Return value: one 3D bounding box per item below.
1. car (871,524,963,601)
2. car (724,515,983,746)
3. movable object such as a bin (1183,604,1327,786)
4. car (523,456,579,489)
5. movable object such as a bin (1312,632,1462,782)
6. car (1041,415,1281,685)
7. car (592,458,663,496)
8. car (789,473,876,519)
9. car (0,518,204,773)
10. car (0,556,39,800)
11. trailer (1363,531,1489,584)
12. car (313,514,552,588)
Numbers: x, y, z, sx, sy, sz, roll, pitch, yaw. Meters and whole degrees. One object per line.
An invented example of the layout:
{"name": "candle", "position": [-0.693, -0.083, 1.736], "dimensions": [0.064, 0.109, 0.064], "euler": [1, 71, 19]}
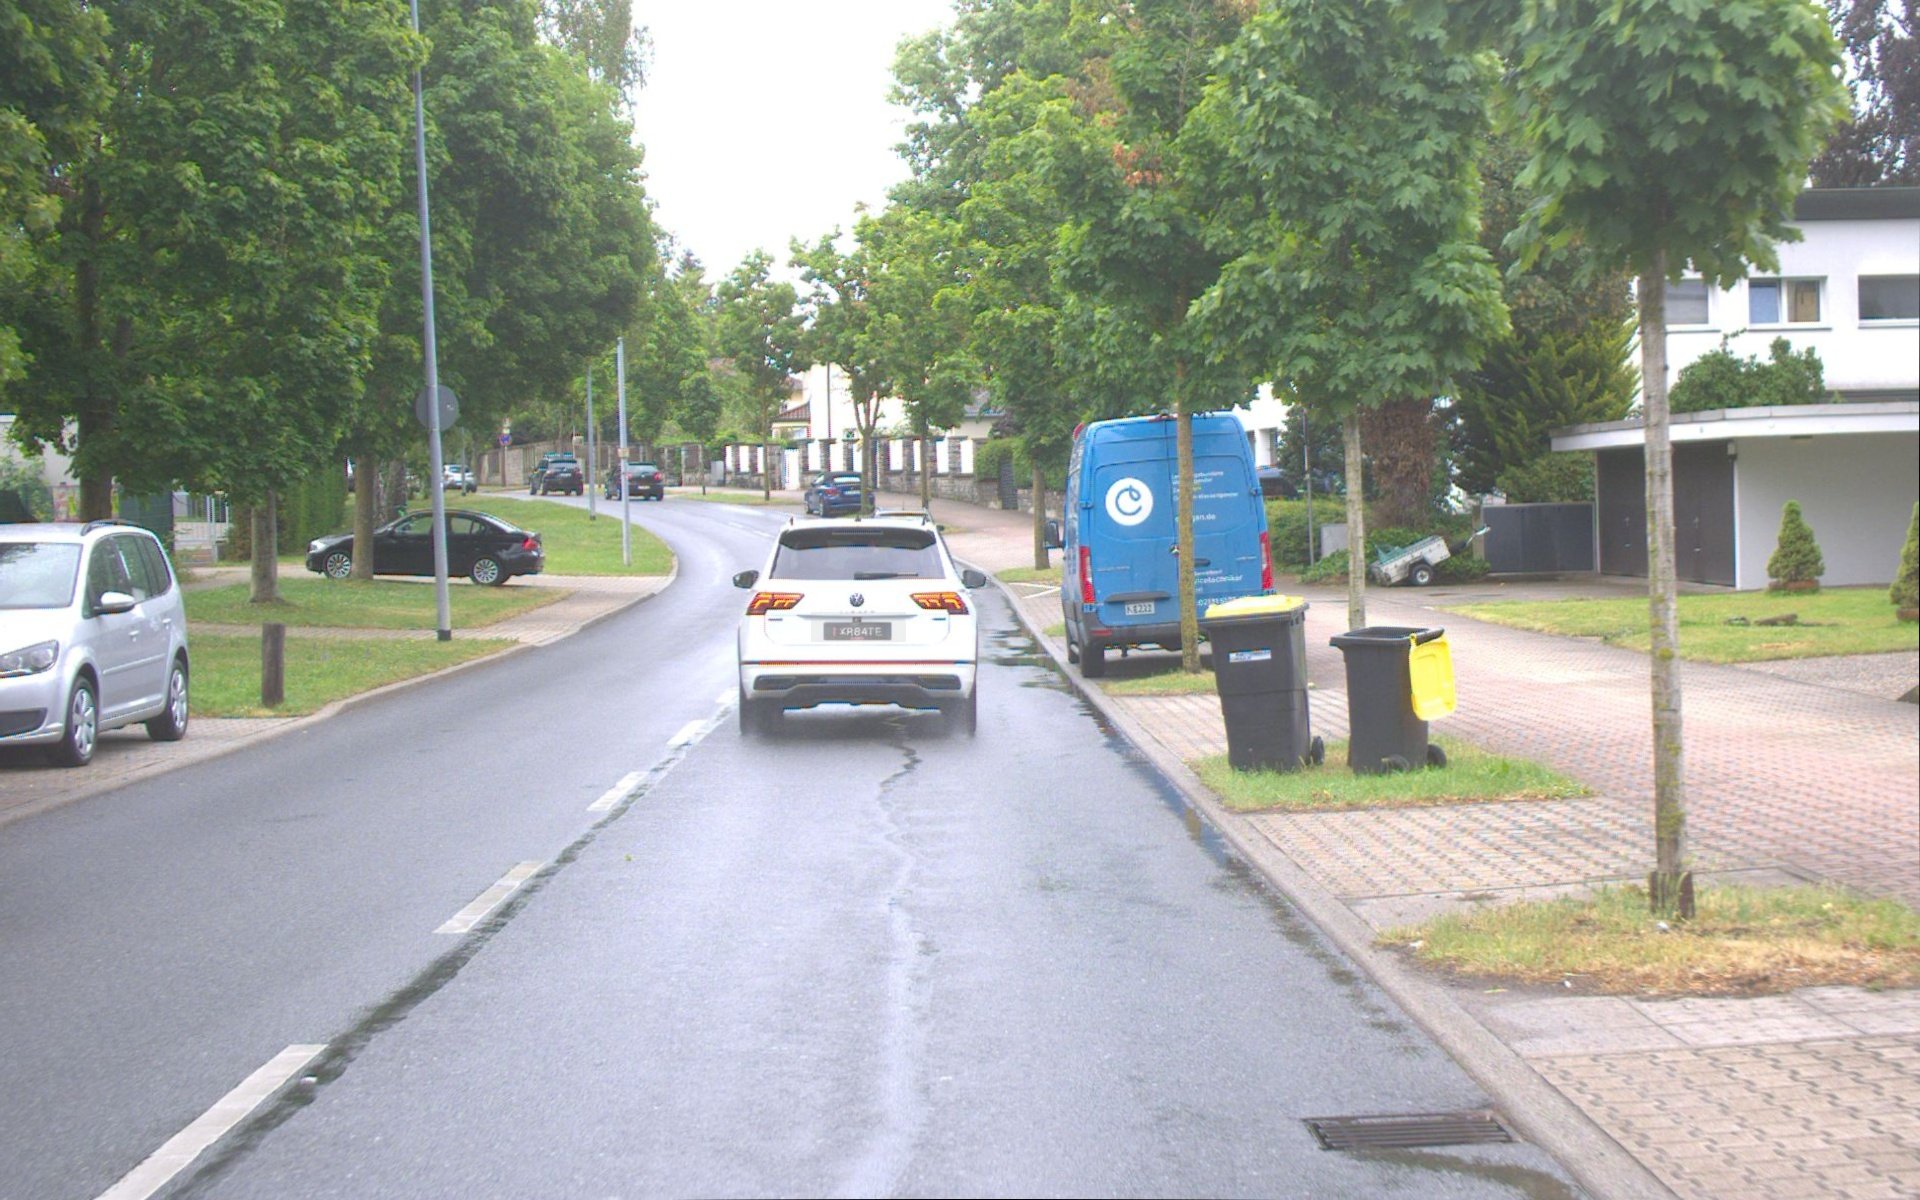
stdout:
{"name": "car", "position": [-0.935, -0.804, 72.844], "dimensions": [1.769, 1.546, 4.001], "euler": [-1, 1, -3]}
{"name": "car", "position": [-0.883, 0.207, 27.346], "dimensions": [1.865, 1.645, 4.000], "euler": [-2, 1, -3]}
{"name": "movable object such as a bin", "position": [1.770, 0.565, 20.581], "dimensions": [0.615, 1.011, 0.562], "euler": [-5, 0, 25]}
{"name": "car", "position": [-17.650, -5.502, 148.183], "dimensions": [1.642, 1.422, 4.002], "euler": [0, 2, -18]}
{"name": "movable object such as a bin", "position": [2.473, 0.617, 19.889], "dimensions": [0.660, 0.797, 0.600], "euler": [-4, 0, 25]}
{"name": "car", "position": [2.058, -0.563, 36.850], "dimensions": [1.993, 2.578, 5.634], "euler": [-3, 1, -1]}
{"name": "car", "position": [-12.887, -4.781, 133.065], "dimensions": [1.642, 1.422, 4.001], "euler": [0, 3, -22]}
{"name": "car", "position": [-4.135, -3.379, 110.920], "dimensions": [1.642, 1.422, 4.002], "euler": [0, 2, -20]}
{"name": "car", "position": [-6.641, 0.253, 24.024], "dimensions": [1.756, 1.622, 4.233], "euler": [-1, 1, 0]}
{"name": "car", "position": [-6.510, 0.498, 18.455], "dimensions": [1.993, 1.398, 4.557], "euler": [-1, 1, -1]}
{"name": "trailer", "position": [8.086, -0.743, 59.783], "dimensions": [2.042, 0.880, 1.364], "euler": [0, 1, 2]}
{"name": "car", "position": [-10.005, -0.945, 65.387], "dimensions": [4.219, 1.358, 1.690], "euler": [0, 1, 4]}
